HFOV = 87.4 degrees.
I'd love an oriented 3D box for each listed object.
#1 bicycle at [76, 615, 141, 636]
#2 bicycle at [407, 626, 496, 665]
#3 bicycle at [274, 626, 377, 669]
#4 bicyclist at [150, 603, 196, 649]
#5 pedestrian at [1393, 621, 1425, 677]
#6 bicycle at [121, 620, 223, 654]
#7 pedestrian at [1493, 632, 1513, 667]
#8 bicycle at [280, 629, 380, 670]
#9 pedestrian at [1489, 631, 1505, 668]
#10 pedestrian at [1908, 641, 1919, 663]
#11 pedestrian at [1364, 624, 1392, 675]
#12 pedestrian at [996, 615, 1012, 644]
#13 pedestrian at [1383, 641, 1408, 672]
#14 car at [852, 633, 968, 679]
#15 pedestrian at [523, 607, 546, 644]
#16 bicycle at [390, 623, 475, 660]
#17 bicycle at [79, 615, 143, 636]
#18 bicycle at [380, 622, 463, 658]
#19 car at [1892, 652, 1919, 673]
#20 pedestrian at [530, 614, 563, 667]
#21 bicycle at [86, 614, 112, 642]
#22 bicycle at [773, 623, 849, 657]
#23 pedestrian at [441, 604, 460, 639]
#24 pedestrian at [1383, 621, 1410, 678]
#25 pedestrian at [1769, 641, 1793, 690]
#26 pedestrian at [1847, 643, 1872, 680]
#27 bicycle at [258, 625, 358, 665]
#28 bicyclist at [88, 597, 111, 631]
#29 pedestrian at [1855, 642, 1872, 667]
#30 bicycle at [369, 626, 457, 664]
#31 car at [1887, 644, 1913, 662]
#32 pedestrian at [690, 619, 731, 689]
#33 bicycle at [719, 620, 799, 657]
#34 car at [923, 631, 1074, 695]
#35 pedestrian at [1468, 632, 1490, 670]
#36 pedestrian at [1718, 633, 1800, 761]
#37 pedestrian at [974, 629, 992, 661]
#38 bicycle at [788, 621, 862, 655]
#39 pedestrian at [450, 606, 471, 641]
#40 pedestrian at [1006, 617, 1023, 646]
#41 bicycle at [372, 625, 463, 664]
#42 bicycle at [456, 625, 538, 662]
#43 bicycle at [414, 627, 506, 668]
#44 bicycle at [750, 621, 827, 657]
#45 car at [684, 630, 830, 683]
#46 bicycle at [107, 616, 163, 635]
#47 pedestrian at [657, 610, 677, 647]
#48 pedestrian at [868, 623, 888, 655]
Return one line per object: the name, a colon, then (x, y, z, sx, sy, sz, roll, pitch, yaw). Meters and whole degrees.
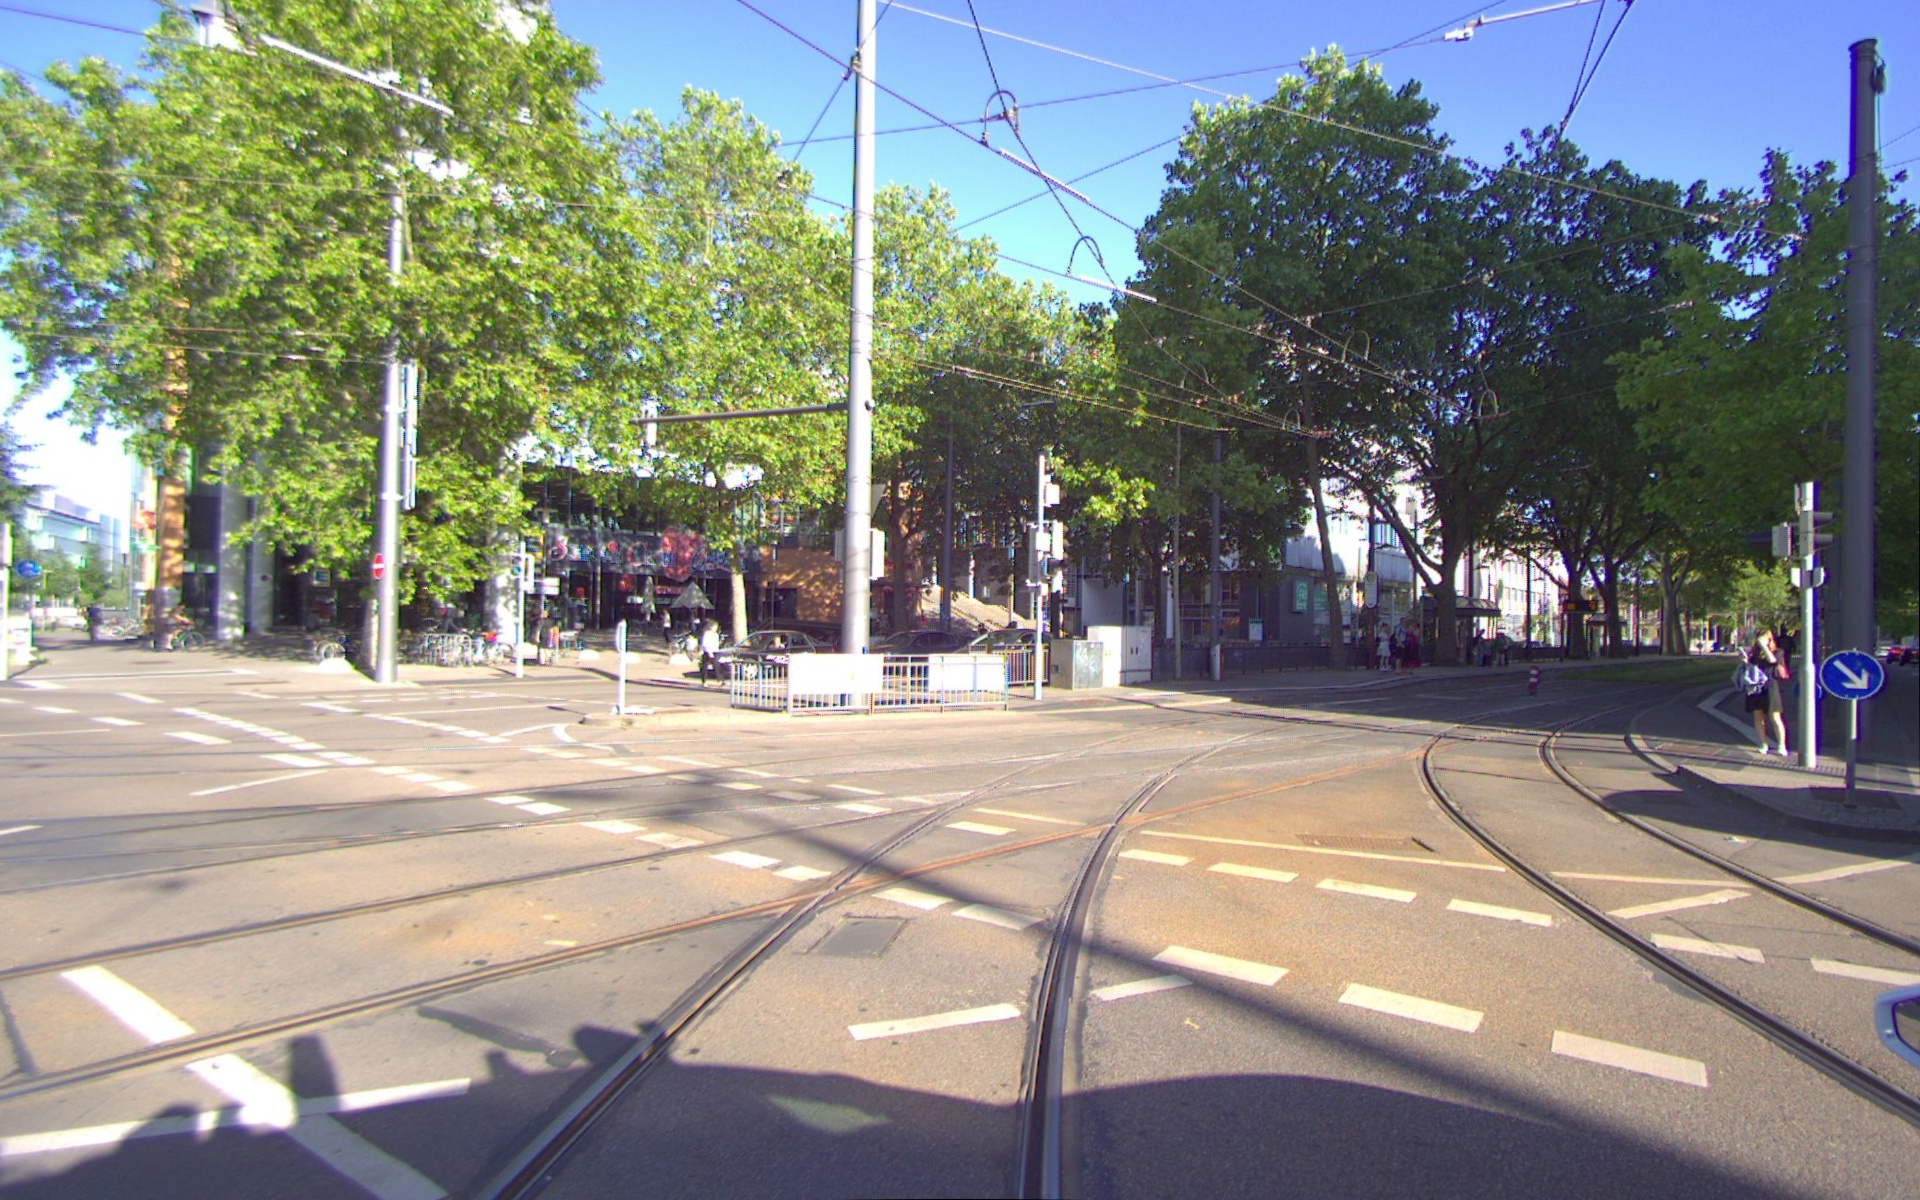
bicycle: (-48.051, 1.458, 56.706, 2.664, 1.118, 0.887, 3, -2, -35)
bicycle: (-15.478, 1.384, 30.625, 0.591, 1.143, 2.353, 0, -2, 44)
bicycle: (-17.902, 1.341, 28.395, 0.591, 1.143, 2.352, 0, -2, 45)
bicyclist: (-27.611, 0.904, 35.264, 0.923, 1.569, 0.893, 2, -2, -14)
pedestrian: (15.168, 1.658, 33.911, 0.732, 1.853, 0.590, 2, 0, -16)
bicycle: (-27.616, 1.304, 35.252, 2.646, 1.118, 0.893, 2, -2, -14)
pedestrian: (24.675, 2.244, 45.684, 0.633, 1.594, 0.560, 0, 1, -35)
bicycle: (-18.188, 1.430, 29.057, 0.591, 1.143, 2.352, 0, -2, 45)
pedestrian: (24.227, 2.230, 45.301, 0.491, 1.594, 0.496, 0, 1, -44)
pedestrian: (131.779, 7.168, 138.624, 1.127, 2.909, 0.920, 1, -1, 10)
pedestrian: (15.391, 1.827, 36.966, 0.736, 1.824, 0.587, 2, -1, -32)
pedestrian: (2.656, 1.775, 60.616, 0.689, 1.674, 0.702, 1, -1, 43)
pedestrian: (17.426, 2.262, 40.160, 0.736, 1.179, 0.587, 2, -1, -32)
car: (-1.698, 1.952, 34.998, 1.649, 1.425, 3.976, 1, -2, 44)
pedestrian: (-19.840, 1.177, 46.814, 0.691, 1.674, 0.699, 2, 0, 7)
bicycle: (-17.025, 1.358, 32.480, 0.591, 1.143, 2.353, 0, -2, 44)
bicycle: (-48.630, 1.474, 57.566, 2.664, 1.118, 0.887, 3, -2, -35)
bicycle: (-17.769, 1.344, 33.198, 0.591, 1.143, 2.353, 0, -2, 44)
car: (72.744, 4.787, 77.164, 1.595, 1.521, 3.671, 1, -1, 42)
pedestrian: (-13.342, 1.310, 32.412, 0.712, 1.702, 0.820, 3, -3, -44)
bicycle: (-38.485, 1.247, 44.892, 0.689, 1.152, 1.826, 3, -1, -45)
bicycle: (-6.505, 1.727, 43.754, 3.302, 1.371, 1.033, 1, -1, 30)
pedestrian: (-24.856, 1.044, 49.012, 0.699, 1.674, 0.691, 2, -1, -36)
pedestrian: (14.472, 1.630, 33.316, 0.626, 1.853, 0.742, 1, -1, 38)
pedestrian: (28.767, 2.281, 35.188, 0.597, 1.702, 0.484, -1, -3, 43)
pedestrian: (37.395, 2.550, 41.778, 0.713, 1.464, 0.624, 1, -1, 39)
bicycle: (-19.018, 1.321, 29.332, 0.591, 1.143, 2.352, 0, -2, 45)
bicyclist: (-38.535, 0.642, 44.959, 0.744, 1.480, 0.690, 1, -1, 45)
pedestrian: (54.364, 3.258, 60.464, 0.713, 1.464, 0.624, 1, -1, 39)
bicycle: (-17.102, 1.425, 31.459, 0.591, 1.143, 2.353, 0, -2, 44)
car: (85.938, 4.815, 91.850, 1.595, 1.521, 3.671, 1, -1, 42)
pedestrian: (-6.212, 1.346, 24.987, 0.710, 1.702, 0.822, 2, -3, -38)
bicycle: (-8.136, 1.531, 40.613, 3.302, 1.371, 1.033, 1, -1, 30)
car: (1.051, 1.591, 25.629, 1.647, 1.433, 3.979, 1, -2, 42)
pedestrian: (22.617, 2.219, 43.762, 0.659, 1.594, 0.485, 1, 1, -4)
pedestrian: (11.023, 1.308, 13.859, 0.824, 1.702, 0.708, 2, -3, -39)
pedestrian: (1.248, 2.433, 54.656, 0.689, 1.674, 0.702, 1, -1, 43)
bicycle: (-6.100, 1.705, 45.301, 3.302, 1.371, 1.033, 1, -1, 30)
pedestrian: (-23.743, 1.116, 47.745, 0.693, 1.674, 0.697, 2, -1, -41)
pedestrian: (3.236, 1.897, 60.063, 0.689, 1.674, 0.702, 1, -1, 43)
bicycle: (-16.684, 1.375, 30.944, 0.591, 1.143, 2.353, 0, -2, 44)
bicycle: (-15.153, 1.435, 32.917, 0.591, 1.143, 2.353, 0, -2, 44)
bicycle: (-14.708, 1.404, 29.589, 0.591, 1.143, 2.353, 0, -2, 44)
bicycle: (-7.254, 1.642, 42.436, 3.302, 1.371, 1.033, 1, -1, 30)
car: (-5.962, 1.674, 29.773, 1.649, 1.425, 3.976, 1, -2, 44)
bicycle: (-53.413, 1.656, 65.067, 2.664, 1.118, 0.887, 3, -2, -35)
pedestrian: (-14.453, 1.387, 49.583, 0.699, 1.791, 0.692, 2, -1, -35)
pedestrian: (-4.374, 2.076, 53.634, 0.689, 1.674, 0.702, 1, -1, 43)
